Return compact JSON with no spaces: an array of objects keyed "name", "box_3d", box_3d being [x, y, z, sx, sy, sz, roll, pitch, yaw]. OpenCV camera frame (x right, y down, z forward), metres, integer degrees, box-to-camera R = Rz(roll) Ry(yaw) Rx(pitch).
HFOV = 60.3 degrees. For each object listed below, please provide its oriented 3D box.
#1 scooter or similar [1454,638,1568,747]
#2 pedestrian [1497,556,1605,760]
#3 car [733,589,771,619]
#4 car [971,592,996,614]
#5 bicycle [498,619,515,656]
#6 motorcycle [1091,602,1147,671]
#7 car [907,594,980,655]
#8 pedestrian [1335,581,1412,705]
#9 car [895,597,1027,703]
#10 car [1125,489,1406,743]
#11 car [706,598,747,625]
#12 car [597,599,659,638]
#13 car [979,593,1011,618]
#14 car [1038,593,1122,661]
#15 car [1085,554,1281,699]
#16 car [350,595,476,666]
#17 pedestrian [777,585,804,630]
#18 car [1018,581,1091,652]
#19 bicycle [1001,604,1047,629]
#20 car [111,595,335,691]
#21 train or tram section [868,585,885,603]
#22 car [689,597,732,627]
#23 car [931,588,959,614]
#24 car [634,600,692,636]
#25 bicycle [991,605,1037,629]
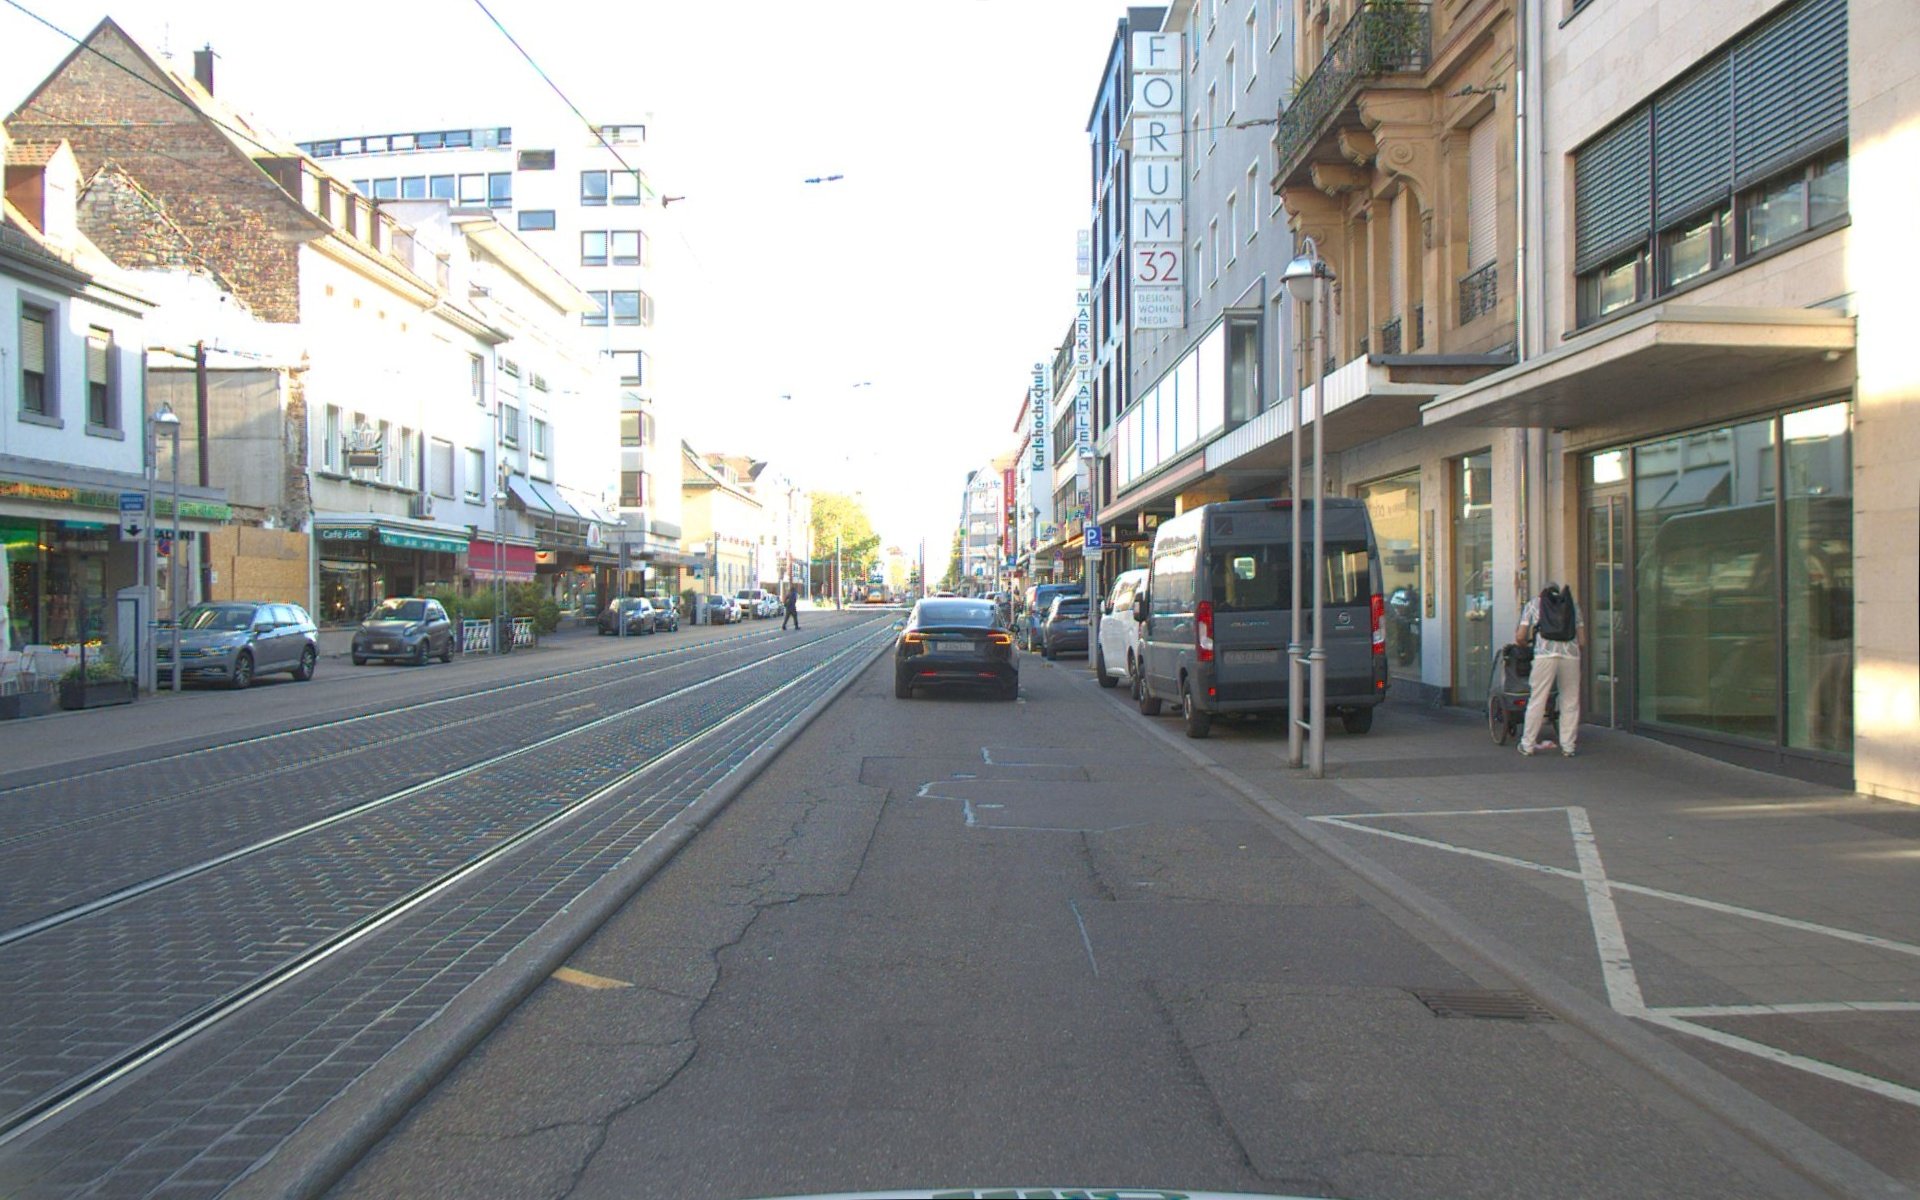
[{"name":"scooter or similar","box_3d":[5.272,0.866,15.888,0.581,0.952,1.298,-2,0,-2]},{"name":"pedestrian","box_3d":[5.273,0.500,14.803,0.545,1.744,0.954,-2,0,-2]},{"name":"car","box_3d":[-13.874,0.259,110.412,1.968,1.995,4.723,0,0,-1]},{"name":"car","box_3d":[1.901,0.282,135.394,1.953,1.784,3.999,0,-1,-1]},{"name":"bicycle","box_3d":[-12.753,1.043,46.506,0.363,1.020,1.596,0,0,-18]},{"name":"motorcycle","box_3d":[3.281,0.745,34.439,0.797,1.338,2.632,-4,-1,-1]},{"name":"car","box_3d":[-0.454,0.613,41.609,1.726,1.443,4.353,0,-1,-2]},{"name":"pedestrian","box_3d":[5.454,0.556,21.868,0.753,1.571,0.804,-2,0,-1]},{"name":"car","box_3d":[0.011,0.692,25.268,1.831,1.452,4.364,0,0,0]},{"name":"car","box_3d":[3.374,0.142,19.471,2.127,2.504,5.360,-2,0,-1]},{"name":"car","box_3d":[-13.656,0.660,97.034,1.733,1.535,3.972,0,0,1]},{"name":"car","box_3d":[-13.558,0.722,67.719,1.733,1.535,3.864,0,0,0]},{"name":"car","box_3d":[2.220,0.388,106.900,1.953,1.570,3.999,0,-1,-1]},{"name":"car","box_3d":[2.845,0.604,39.878,1.716,1.525,3.753,-1,0,0]},{"name":"car","box_3d":[3.384,0.367,26.056,2.116,1.960,4.614,-3,0,-3]},{"name":"car","box_3d":[-13.035,0.690,39.623,1.641,1.573,3.744,2,0,1]},{"name":"pedestrian","box_3d":[-7.062,0.318,68.923,0.757,1.881,0.827,-1,0,30]},{"name":"car","box_3d":[2.591,0.426,46.012,1.784,1.903,3.753,0,0,0]},{"name":"bicycle","box_3d":[2.994,0.766,77.204,2.116,1.116,0.686,0,0,-3]},{"name":"car","box_3d":[-13.126,0.758,29.815,1.953,1.558,4.755,1,-1,-1]},{"name":"train or tram section","box_3d":[-12.619,-0.948,251.716,1.952,2.680,6.803,0,0,3]},{"name":"car","box_3d":[-13.700,0.626,91.075,1.682,1.599,3.850,0,0,1]},{"name":"car","box_3d":[-1.103,0.057,121.682,2.042,1.903,3.753,0,0,0]},{"name":"car","box_3d":[-13.232,0.769,73.858,1.733,1.535,3.862,0,0,3]},{"name":"bicycle","box_3d":[2.546,0.783,78.084,2.116,1.116,0.686,0,0,-3]}]
